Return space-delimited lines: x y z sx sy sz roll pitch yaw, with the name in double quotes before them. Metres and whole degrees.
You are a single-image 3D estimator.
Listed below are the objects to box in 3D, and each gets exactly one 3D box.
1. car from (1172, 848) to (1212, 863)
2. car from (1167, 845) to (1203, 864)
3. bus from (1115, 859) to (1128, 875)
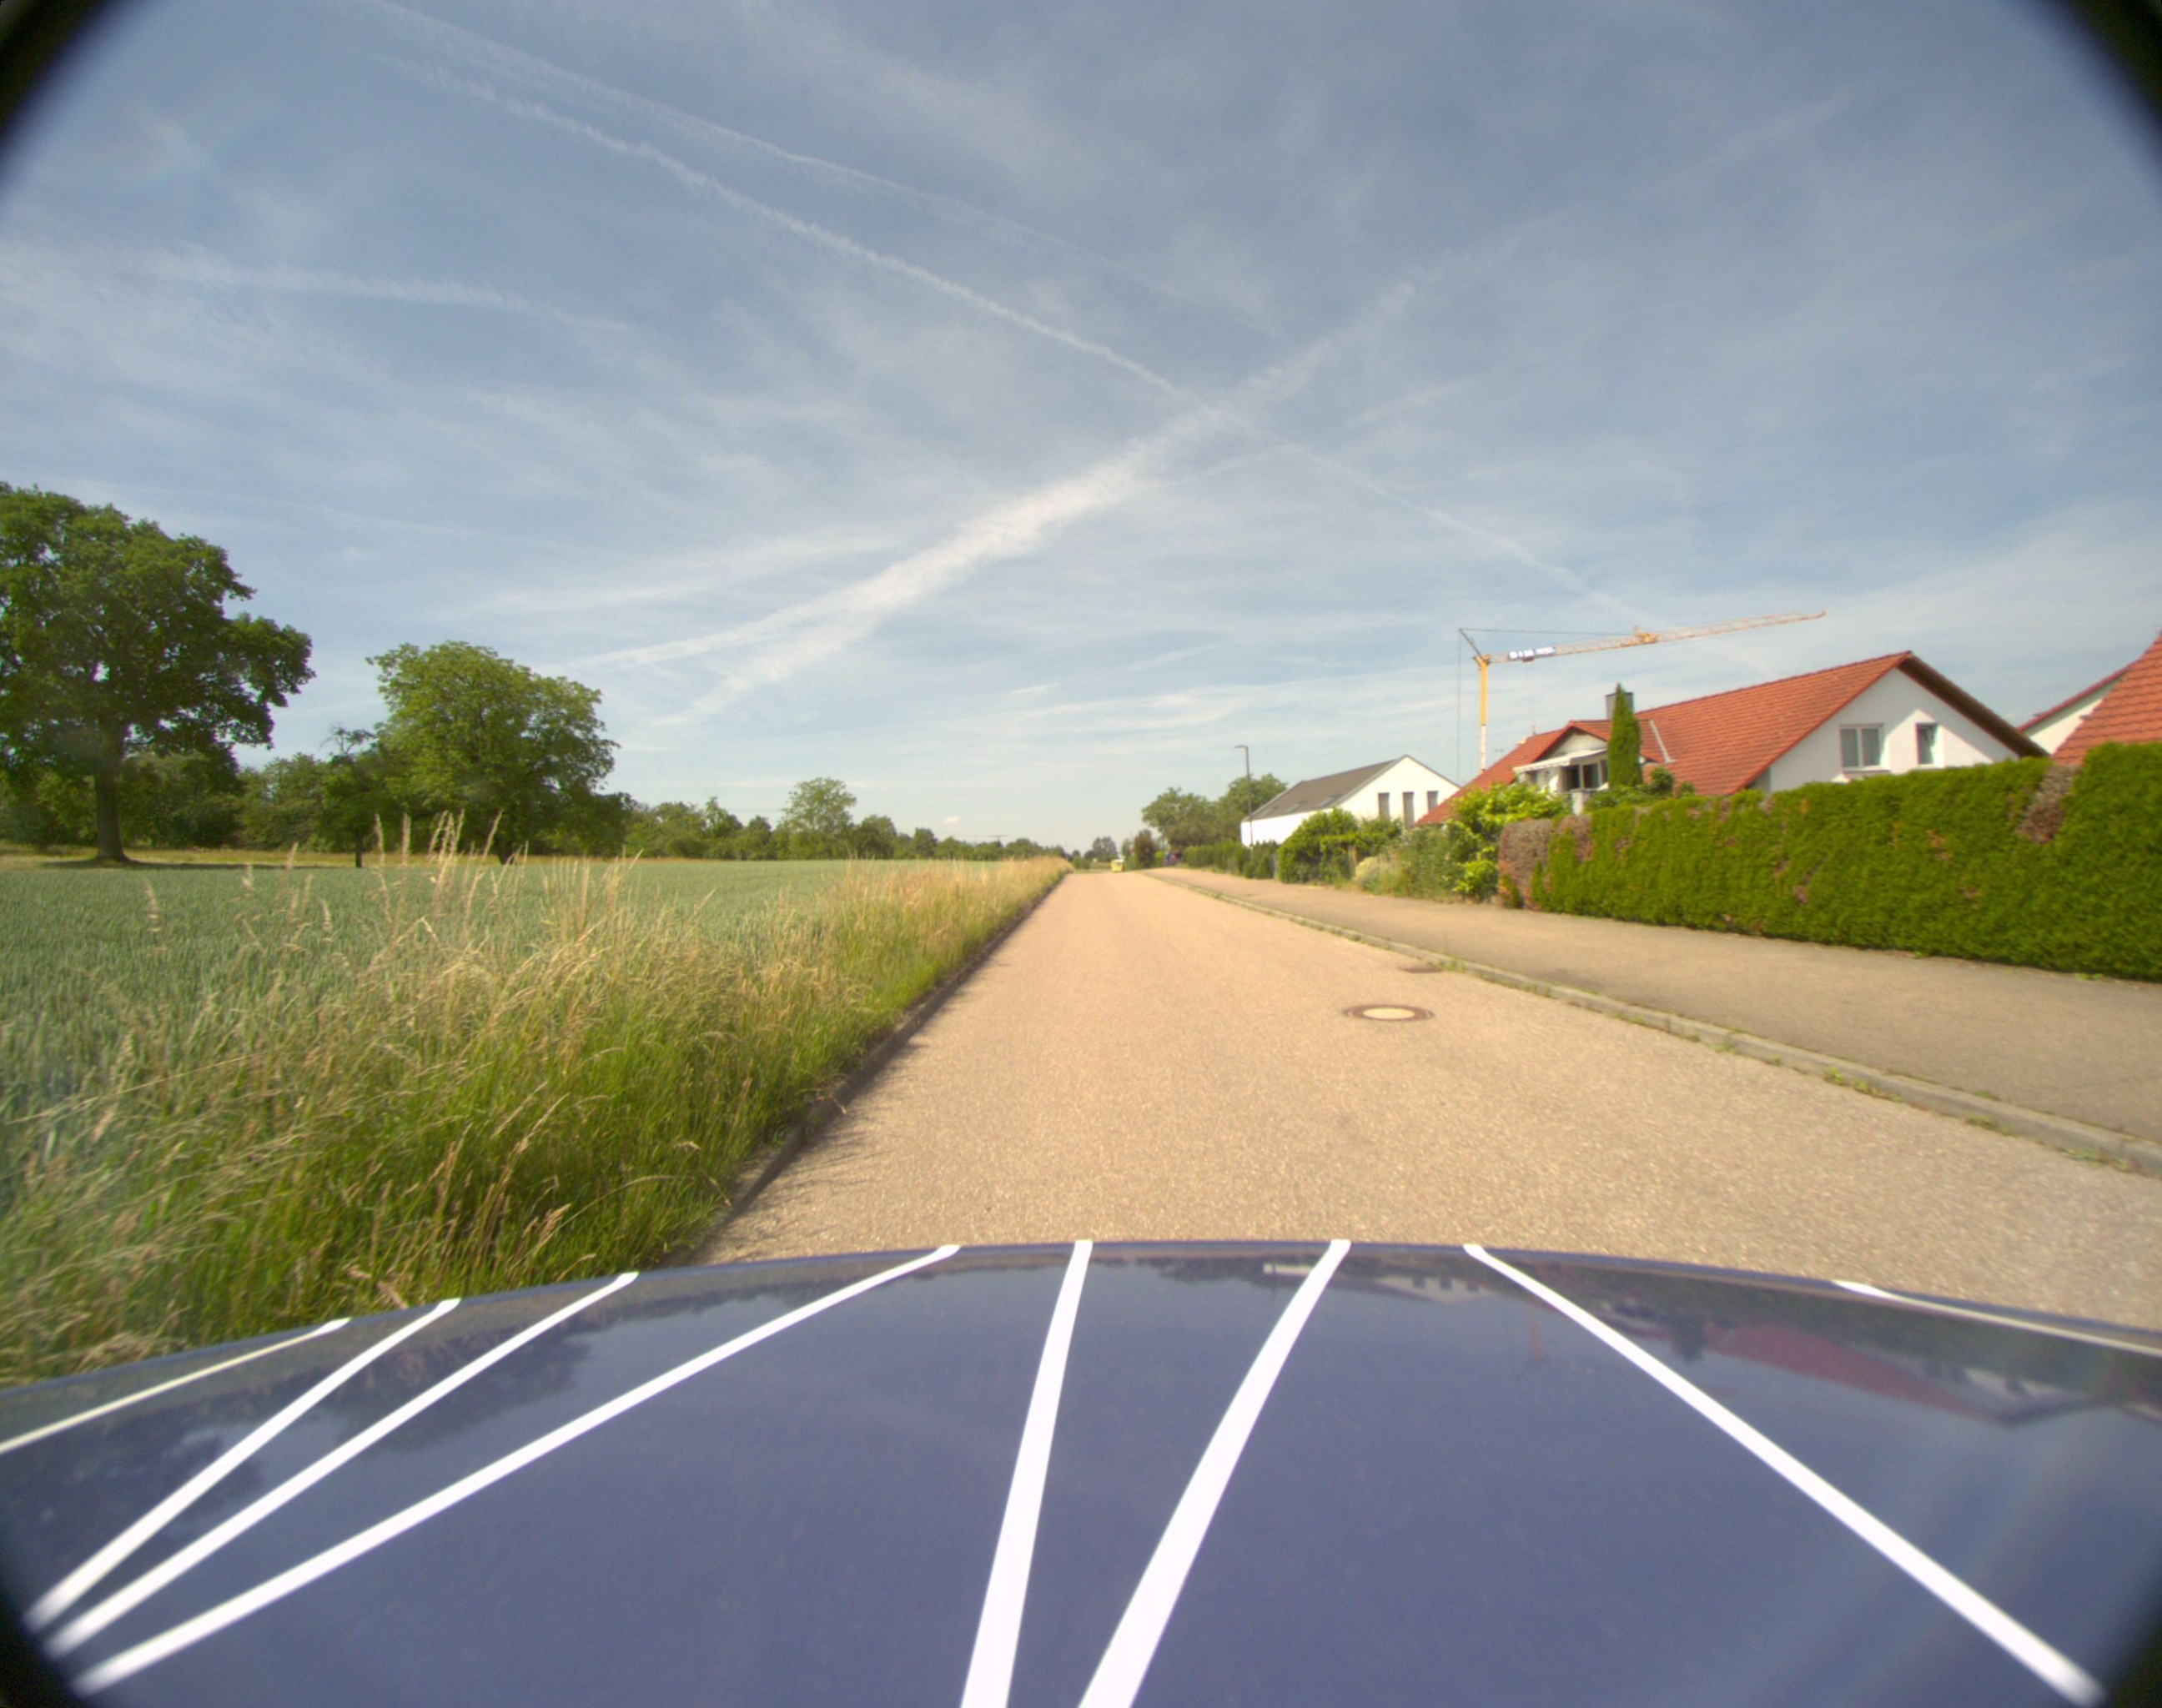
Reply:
"car" 11.261 0.165 77.139 3.885 1.314 1.801 -3 0 5
"car" 11.677 0.061 85.634 3.885 1.802 1.801 -4 0 5
"bus" 10.392 3.319 195.976 3.066 3.557 9.456 -2 1 3
